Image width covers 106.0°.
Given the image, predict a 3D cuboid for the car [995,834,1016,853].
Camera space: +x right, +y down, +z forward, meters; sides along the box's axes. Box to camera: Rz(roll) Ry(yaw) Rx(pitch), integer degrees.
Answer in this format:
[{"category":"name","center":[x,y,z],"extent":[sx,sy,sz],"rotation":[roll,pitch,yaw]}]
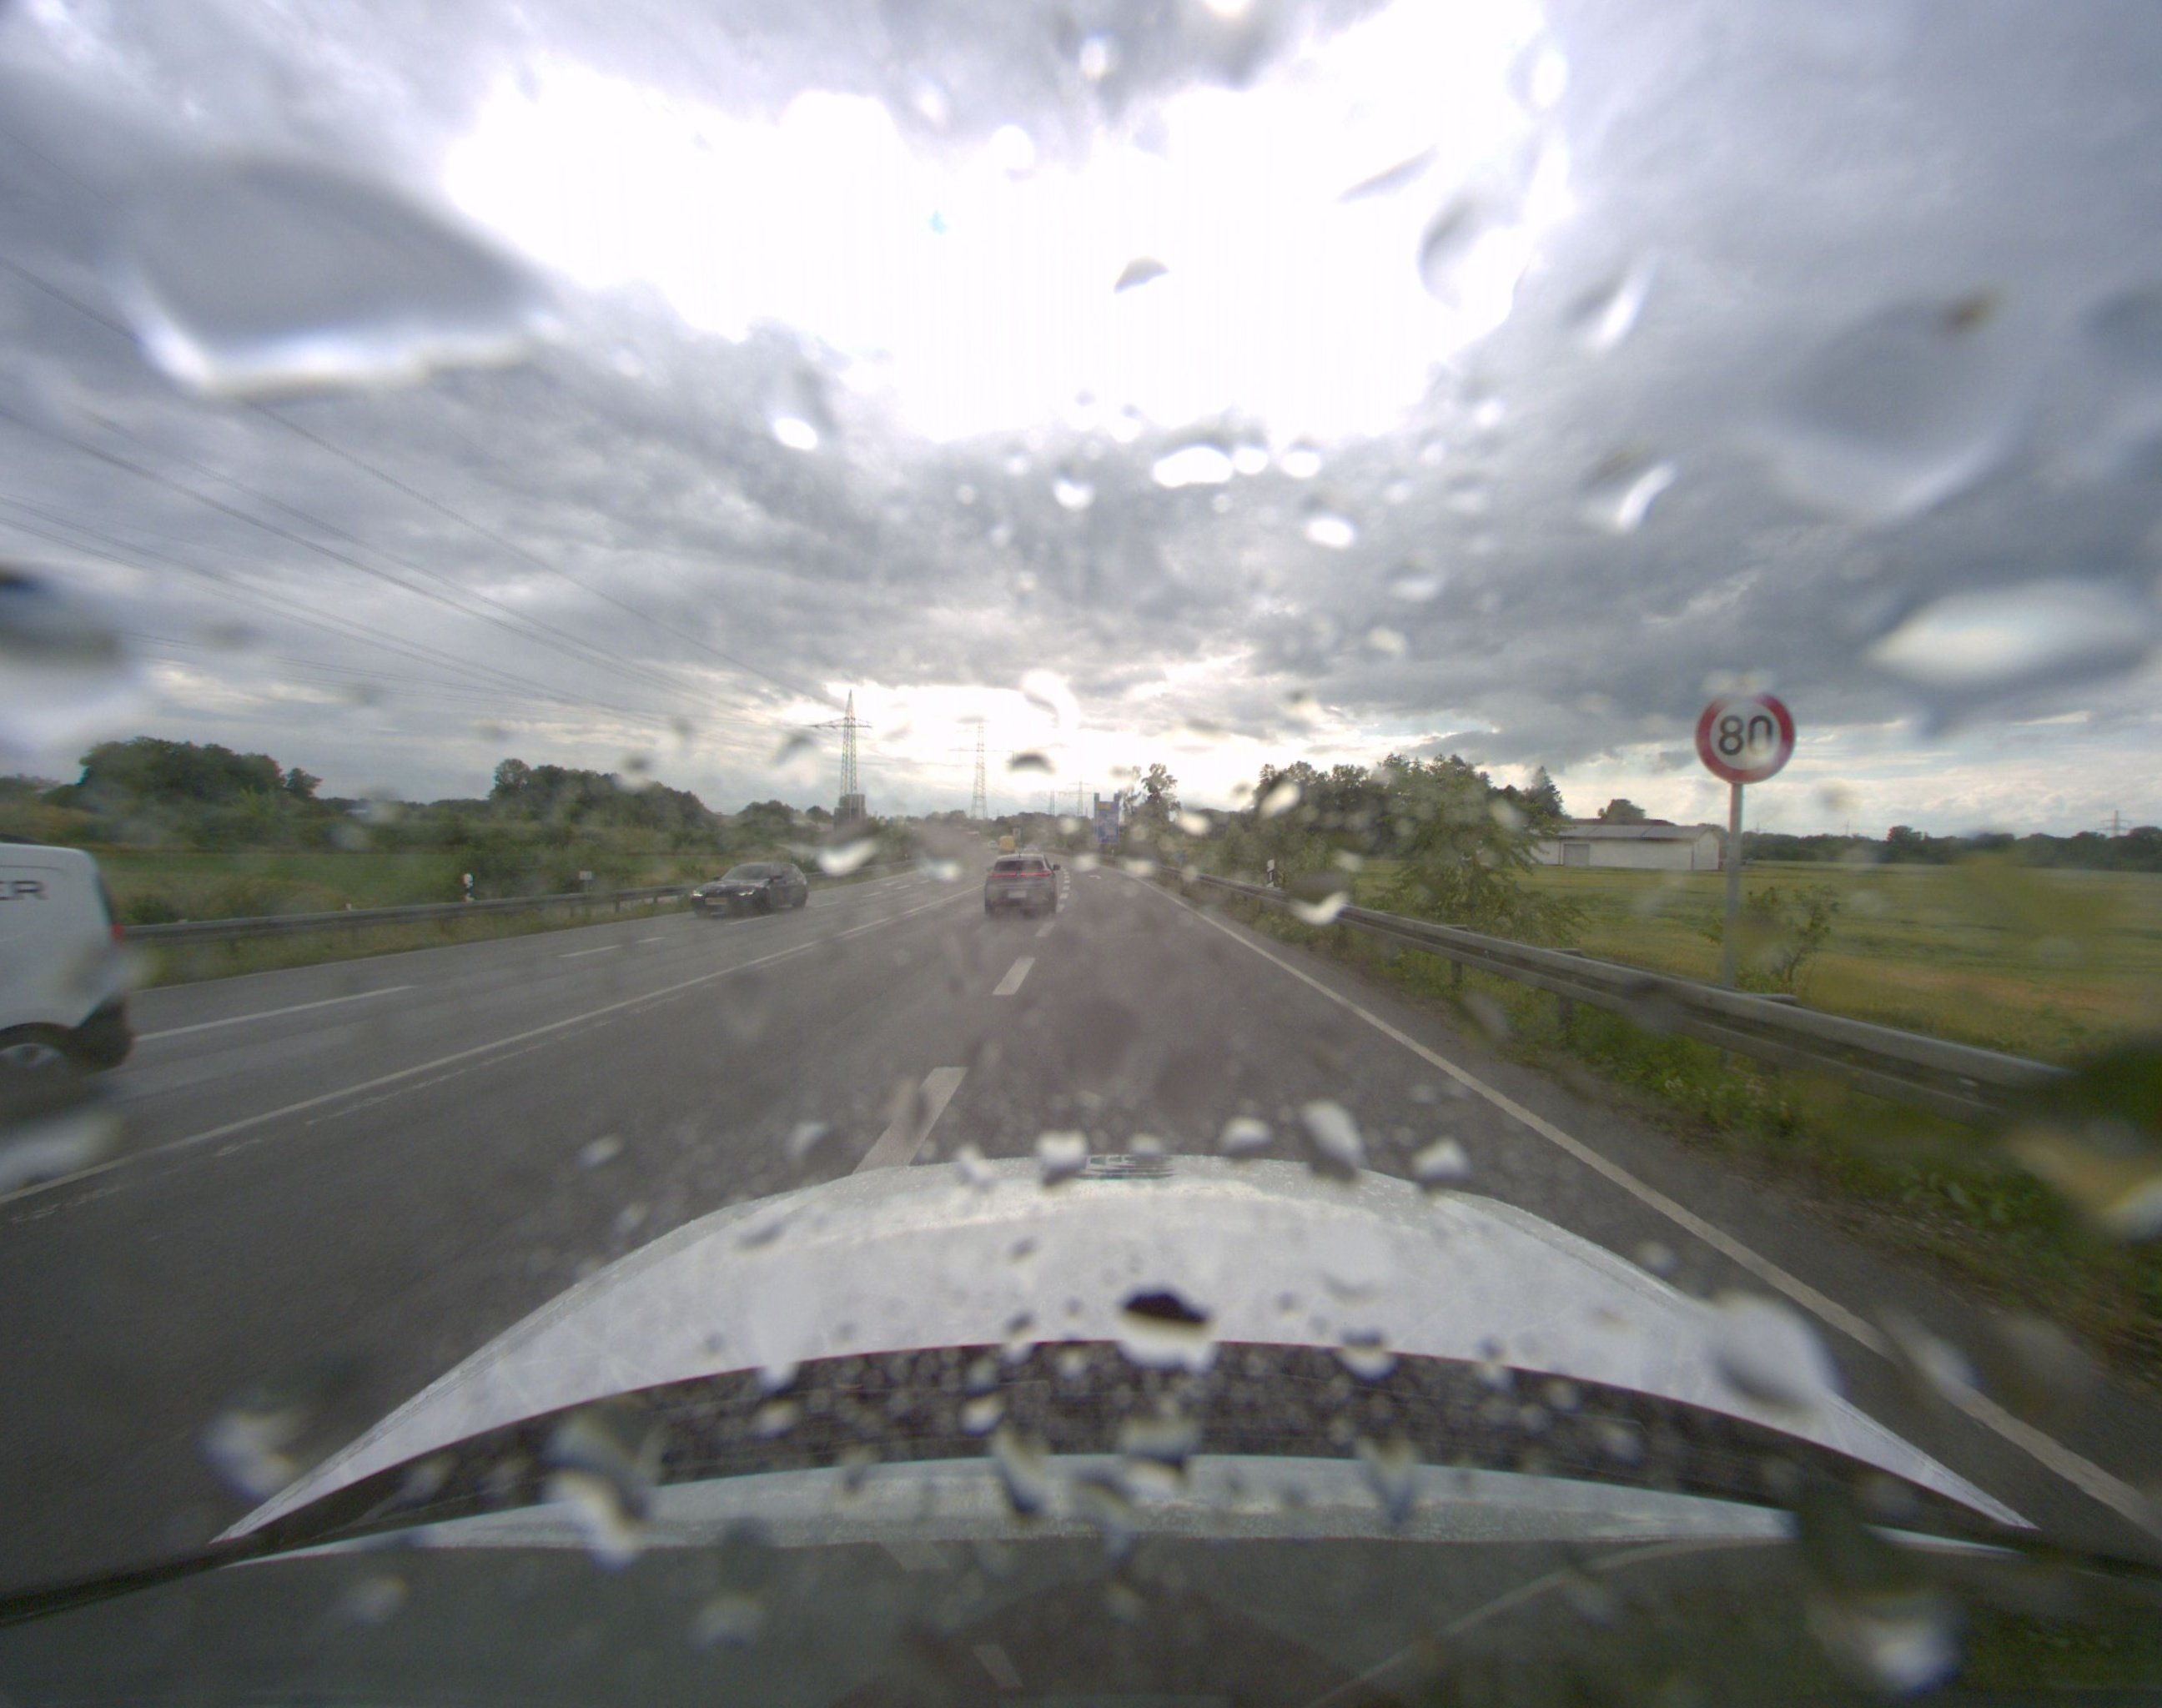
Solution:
[{"category":"car","center":[-11.044,-1.549,118.952],"extent":[2.572,2.725,7.176],"rotation":[-1,1,-8]}]

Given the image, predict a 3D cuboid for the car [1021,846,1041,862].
[{"category":"car","center":[-4.772,0.040,77.952],"extent":[1.788,1.441,3.994],"rotation":[-1,0,-4]}]

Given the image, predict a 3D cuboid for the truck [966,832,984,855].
[{"category":"truck","center":[-16.316,-1.597,124.974],"extent":[2.479,3.291,7.261],"rotation":[-2,1,-8]}]

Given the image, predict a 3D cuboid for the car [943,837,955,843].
[{"category":"car","center":[-31.350,-3.314,193.180],"extent":[1.799,1.441,3.970],"rotation":[3,0,-22]}]

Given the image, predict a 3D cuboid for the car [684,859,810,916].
[{"category":"car","center":[-9.670,0.911,24.039],"extent":[1.892,1.441,4.894],"rotation":[-2,0,-3]}]

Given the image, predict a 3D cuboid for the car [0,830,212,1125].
[{"category":"car","center":[-7.047,0.722,3.507],"extent":[1.783,1.666,4.372],"rotation":[-2,0,2]}]

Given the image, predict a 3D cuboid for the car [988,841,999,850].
[{"category":"car","center":[-15.337,-1.471,142.519],"extent":[1.791,1.441,3.988],"rotation":[0,0,-8]}]

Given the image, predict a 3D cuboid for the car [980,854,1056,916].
[{"category":"car","center":[-1.603,0.759,21.629],"extent":[1.787,1.441,3.996],"rotation":[-2,0,-2]}]
